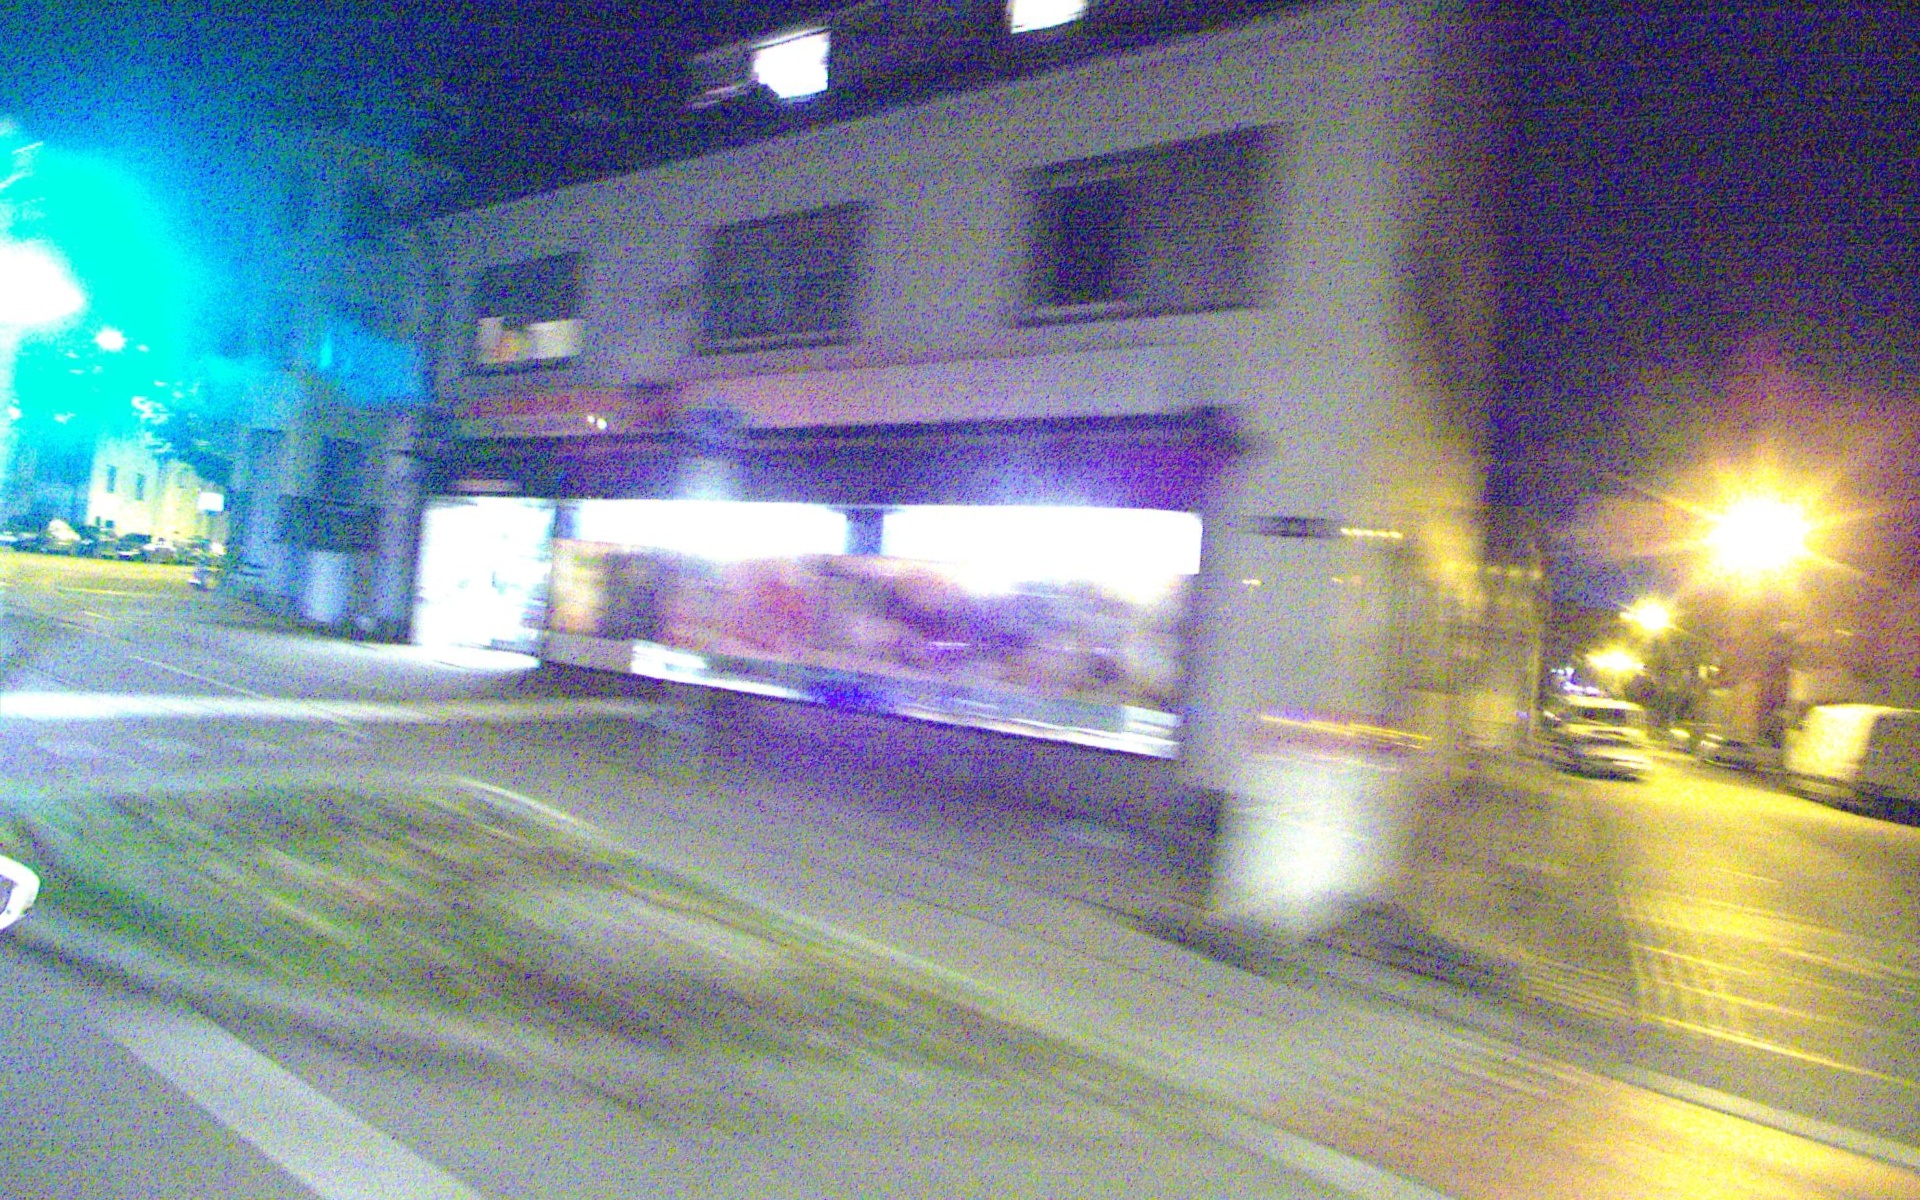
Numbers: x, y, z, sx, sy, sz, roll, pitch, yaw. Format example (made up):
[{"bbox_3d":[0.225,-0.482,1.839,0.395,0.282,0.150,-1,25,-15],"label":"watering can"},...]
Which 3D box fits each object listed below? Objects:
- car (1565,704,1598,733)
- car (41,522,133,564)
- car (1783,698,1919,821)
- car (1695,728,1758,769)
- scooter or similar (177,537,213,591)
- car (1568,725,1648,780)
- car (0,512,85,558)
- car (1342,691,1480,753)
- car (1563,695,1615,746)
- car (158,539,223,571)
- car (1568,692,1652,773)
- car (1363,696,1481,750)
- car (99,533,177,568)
[{"bbox_3d":[48.207,9.185,78.075,1.986,1.990,4.949,3,-5,31],"label":"car"},{"bbox_3d":[-39.230,-2.509,45.321,1.778,1.433,3.821,8,-2,-21],"label":"car"},{"bbox_3d":[23.548,4.087,26.094,2.280,2.623,6.334,7,-2,32],"label":"car"},{"bbox_3d":[35.973,6.936,47.315,1.698,1.557,4.221,6,-3,31],"label":"car"},{"bbox_3d":[-17.777,-0.842,23.392,0.495,1.160,1.652,5,0,-34],"label":"scooter or similar"},{"bbox_3d":[18.211,4.245,28.395,1.674,1.271,3.996,3,-5,31],"label":"car"},{"bbox_3d":[-36.860,-2.582,40.022,1.778,1.433,3.821,8,-2,-21],"label":"car"},{"bbox_3d":[15.395,4.140,34.392,3.895,1.469,1.872,6,-3,36],"label":"car"},{"bbox_3d":[35.996,6.897,57.750,2.244,2.544,6.683,3,-5,31],"label":"car"},{"bbox_3d":[-43.498,-2.500,56.979,1.751,1.433,3.902,8,-2,-21],"label":"car"},{"bbox_3d":[21.531,4.366,33.522,2.093,2.296,5.474,3,-5,31],"label":"car"},{"bbox_3d":[17.863,4.736,38.919,3.797,1.469,1.672,6,-2,36],"label":"car"},{"bbox_3d":[-41.172,-2.436,50.469,1.751,1.356,3.902,8,-2,-21],"label":"car"}]
